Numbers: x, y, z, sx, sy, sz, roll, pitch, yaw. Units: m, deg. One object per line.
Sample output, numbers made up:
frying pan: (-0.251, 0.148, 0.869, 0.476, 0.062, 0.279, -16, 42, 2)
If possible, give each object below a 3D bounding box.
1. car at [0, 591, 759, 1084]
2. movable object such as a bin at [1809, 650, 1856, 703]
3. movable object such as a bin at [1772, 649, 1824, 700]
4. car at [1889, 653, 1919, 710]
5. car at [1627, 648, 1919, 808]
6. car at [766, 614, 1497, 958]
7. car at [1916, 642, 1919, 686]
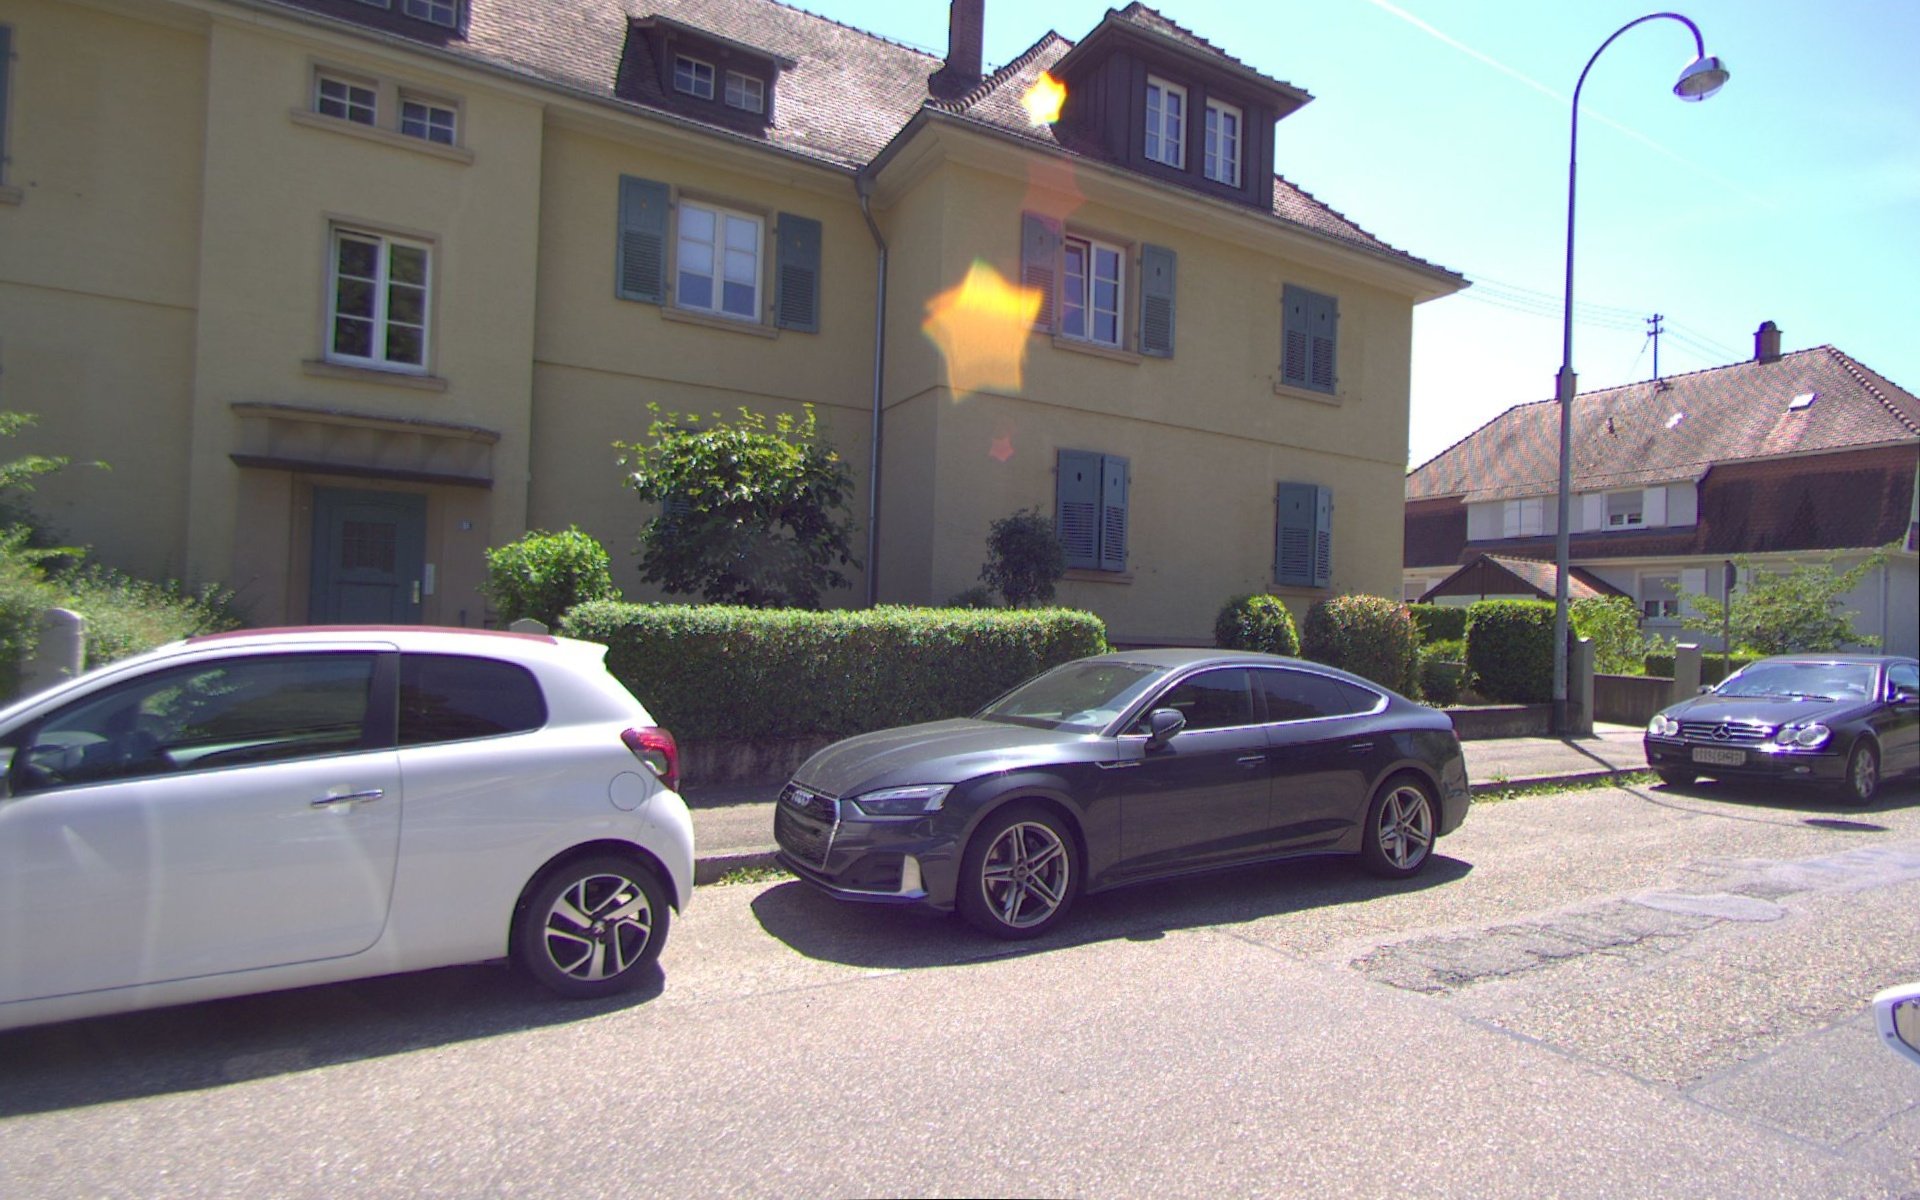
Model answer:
car: (-2.755, 0.773, 4.148, 3.435, 1.512, 1.659, 2, -2, -29)
movable object such as a bin: (22.872, 1.987, 26.331, 0.909, 1.339, 0.686, 2, -1, -31)
movable object such as a bin: (22.546, 1.996, 27.032, 0.909, 1.339, 0.814, 2, -1, -31)
car: (33.981, 2.799, 33.618, 1.857, 1.930, 3.851, 2, -2, -28)
car: (9.188, 1.238, 10.704, 4.326, 1.404, 1.659, 2, -3, -29)
car: (1.192, 0.903, 6.253, 4.411, 1.512, 1.659, 2, -1, -29)
car: (38.162, 2.432, 37.054, 1.857, 1.663, 3.851, 2, -2, -28)
